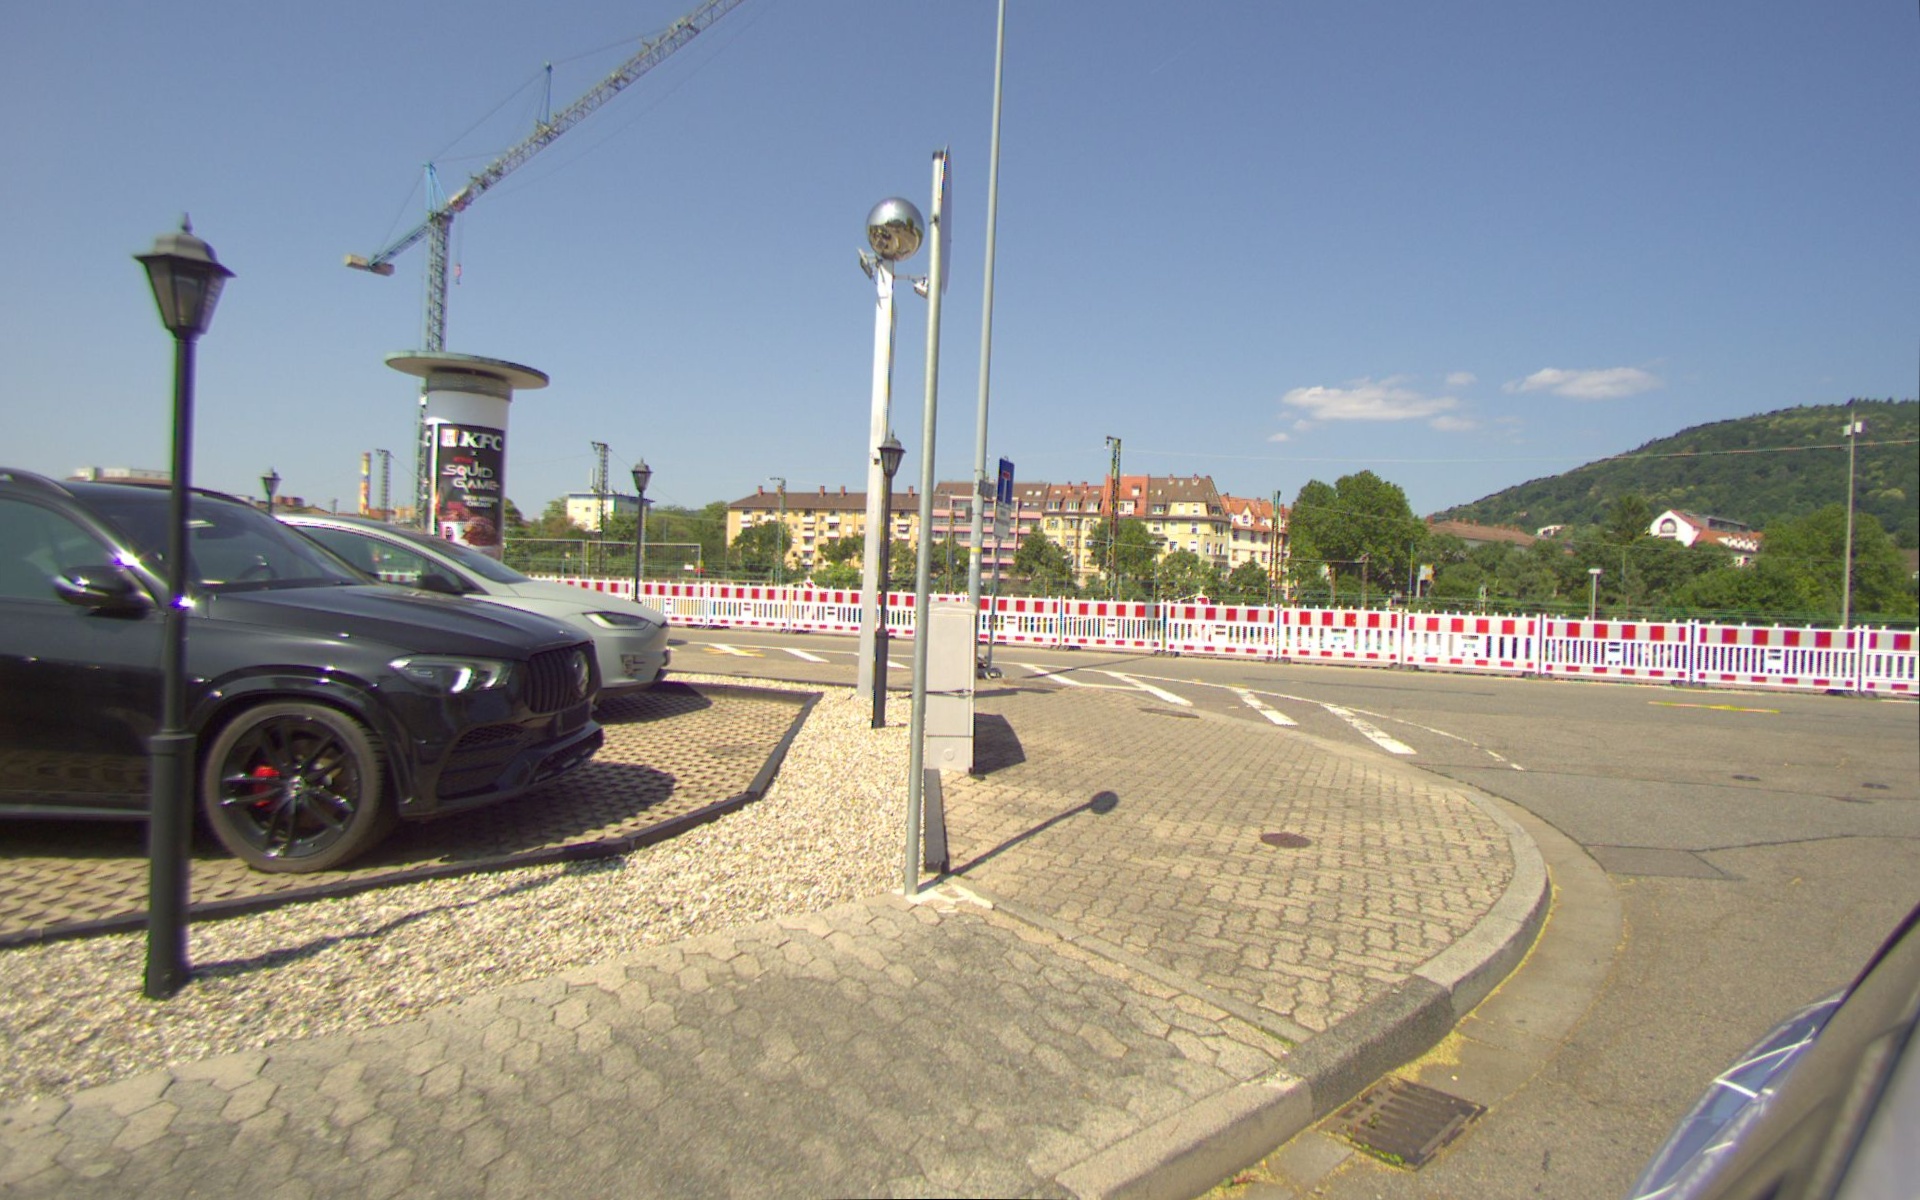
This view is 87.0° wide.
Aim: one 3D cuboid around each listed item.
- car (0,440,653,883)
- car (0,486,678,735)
[{"bbox_3d":[-4.247,0.203,5.202,4.724,1.801,2.018,2,1,-2],"label":"car"},{"bbox_3d":[-4.845,0.087,8.465,4.716,1.713,2.022,1,1,-15],"label":"car"}]
